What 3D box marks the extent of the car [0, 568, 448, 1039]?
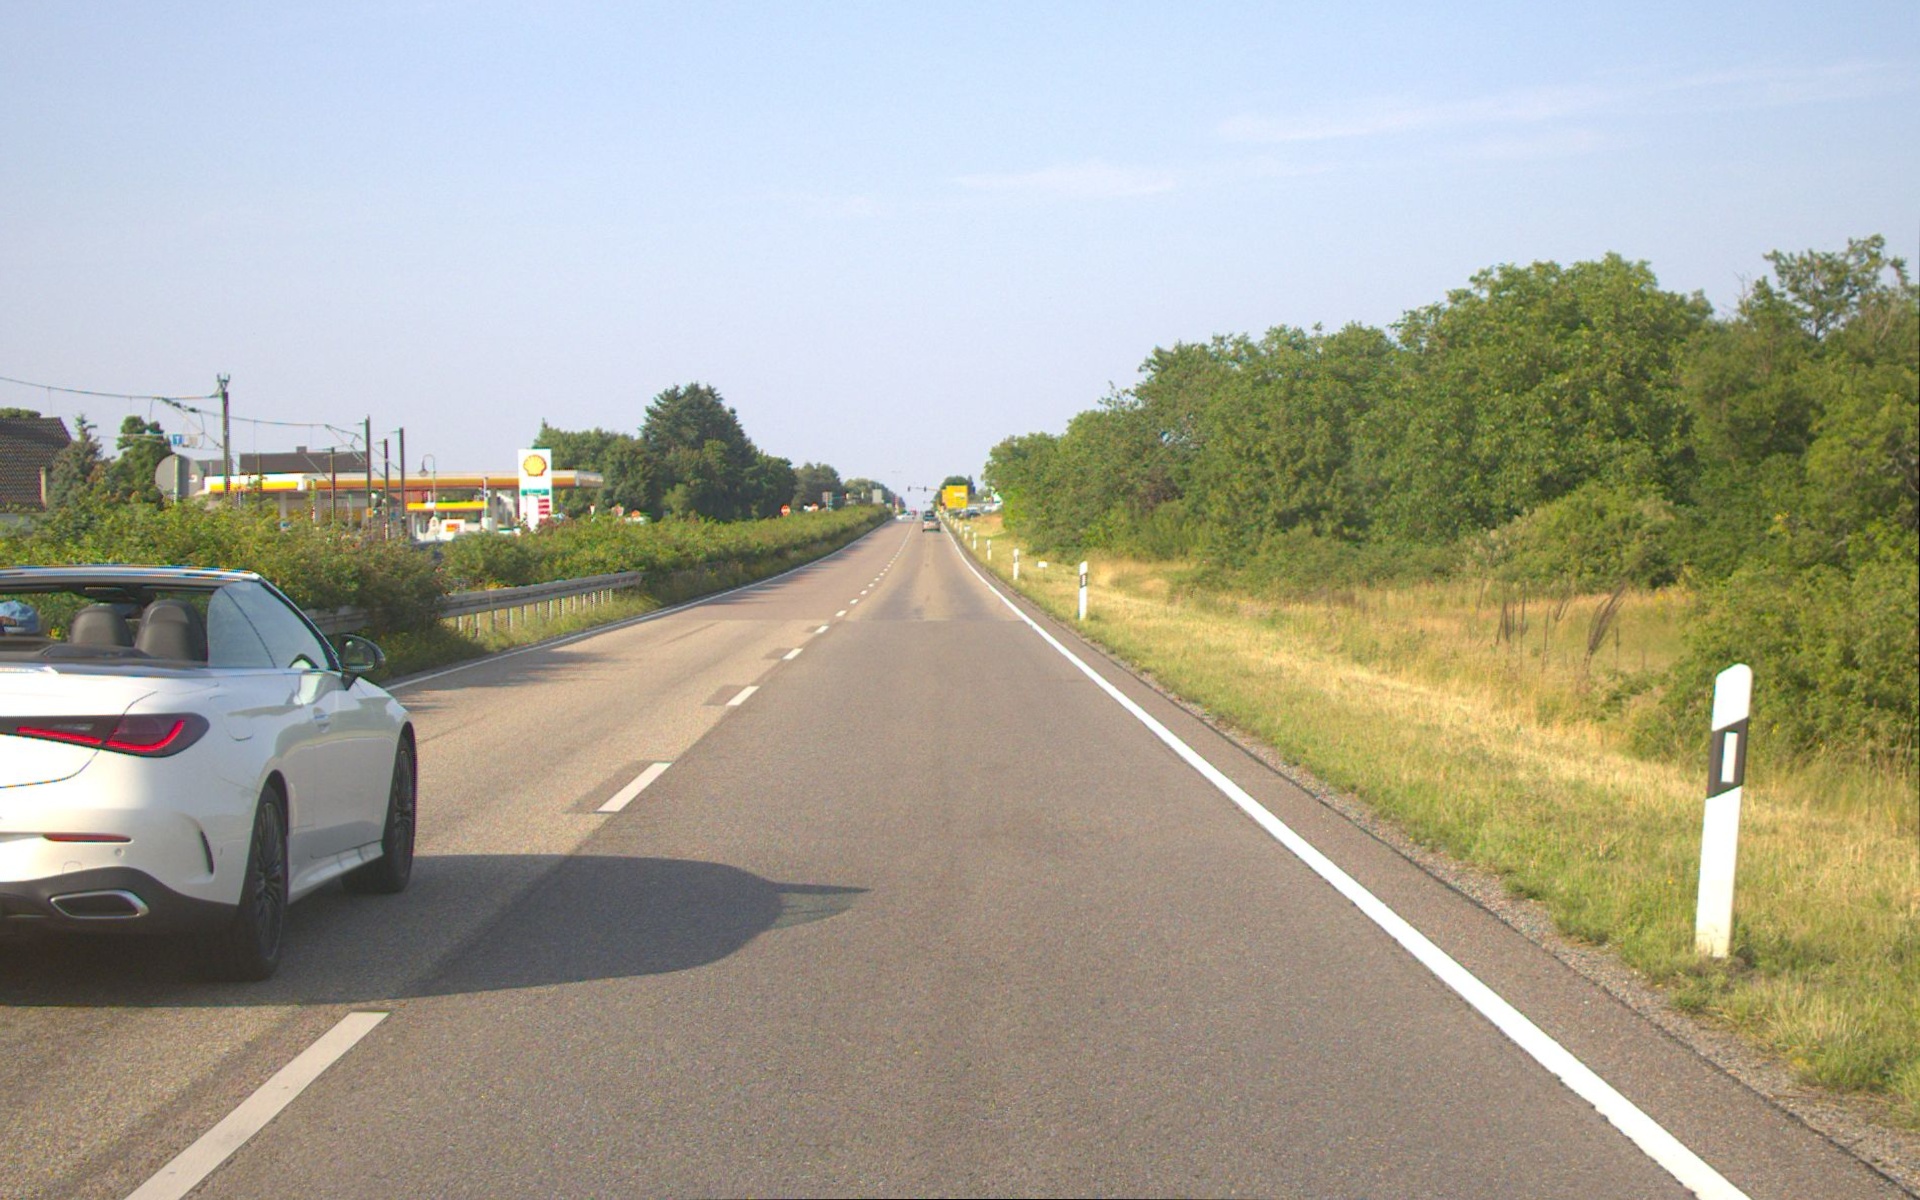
[{"bbox_3d":[-3.146,0.581,12.700,1.771,1.333,4.950,1,1,0],"label":"car"}]
